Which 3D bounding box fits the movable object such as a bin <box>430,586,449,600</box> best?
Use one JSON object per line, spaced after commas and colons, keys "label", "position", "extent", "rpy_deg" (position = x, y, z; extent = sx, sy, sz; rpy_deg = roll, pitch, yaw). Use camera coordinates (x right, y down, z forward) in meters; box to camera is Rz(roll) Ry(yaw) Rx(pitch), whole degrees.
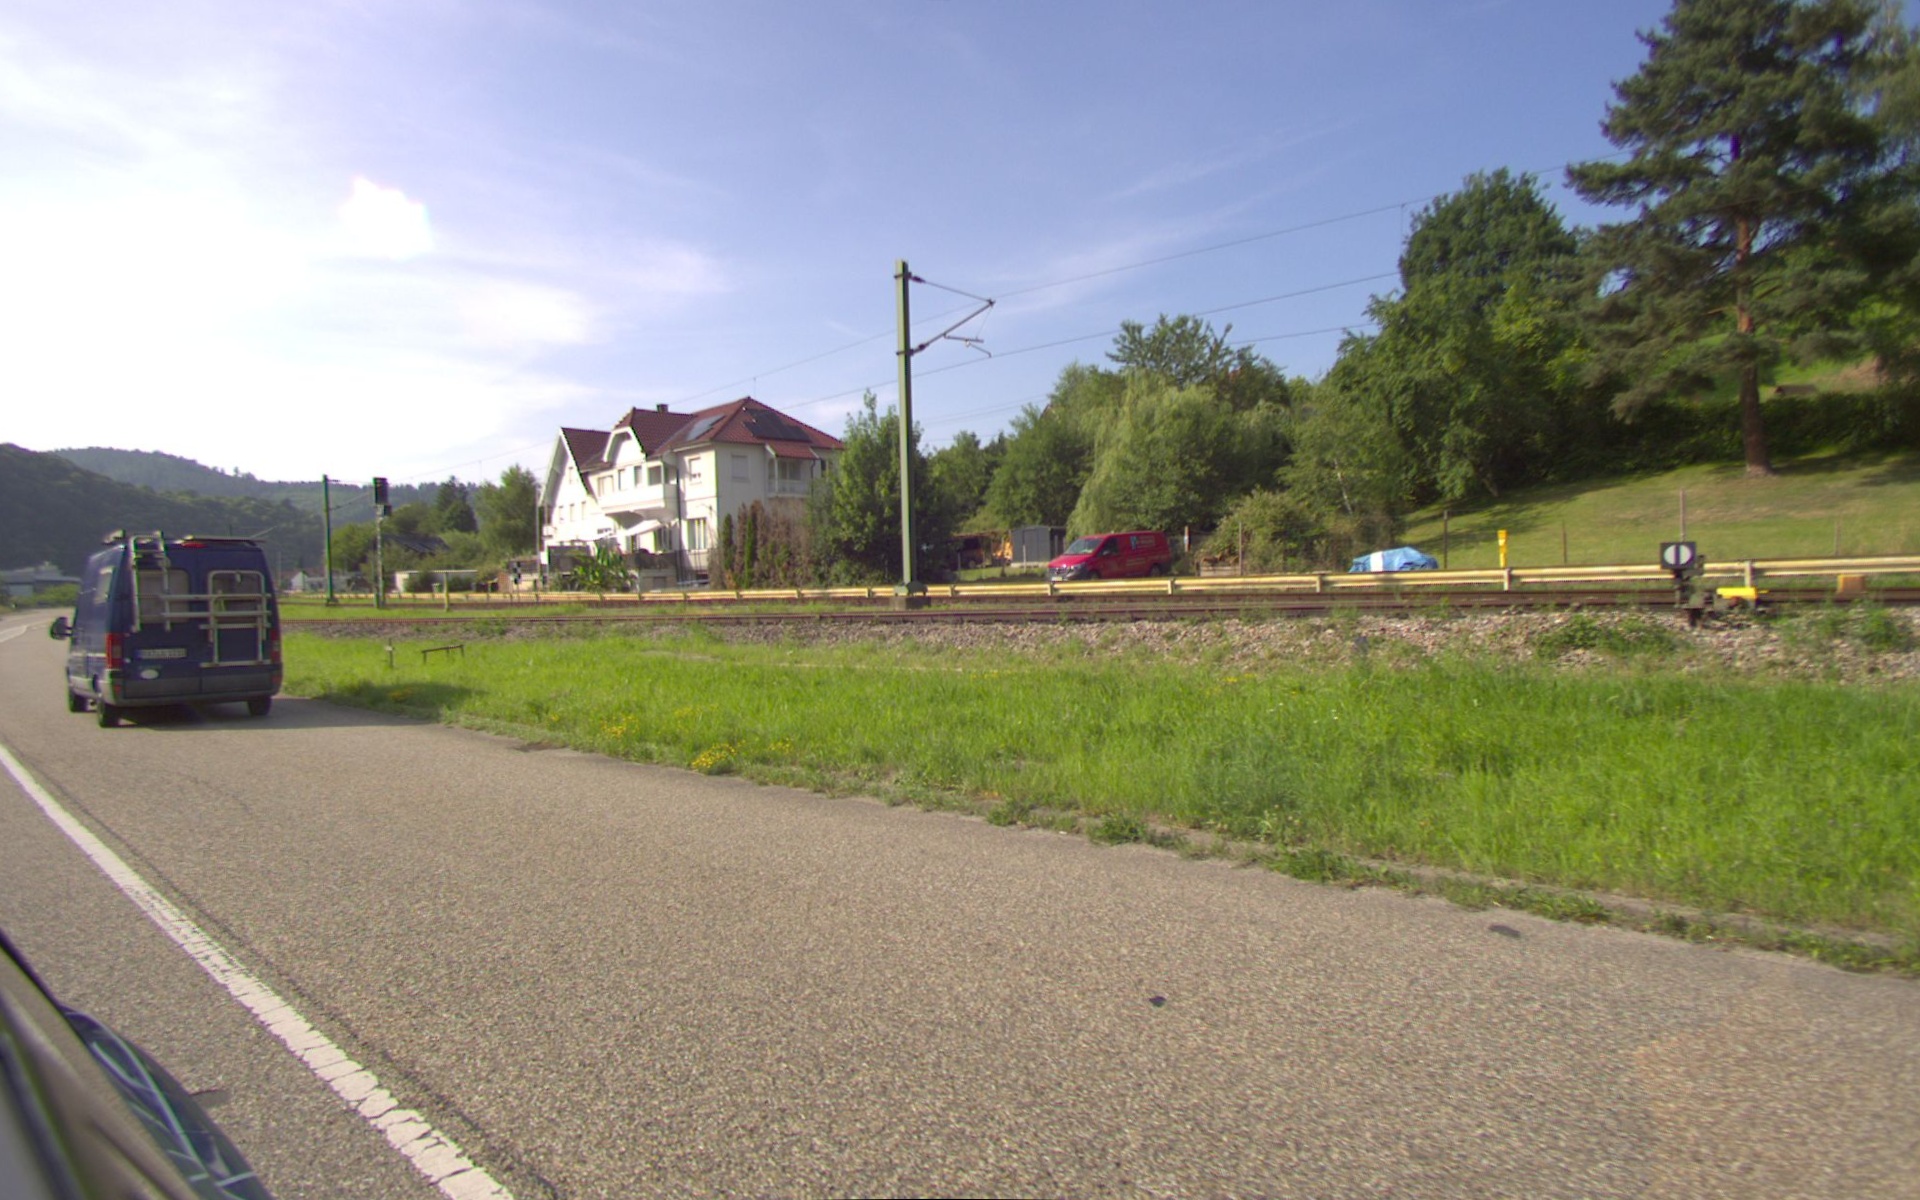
{"label": "movable object such as a bin", "position": [-44.689, -0.593, 86.880], "extent": [1.093, 1.200, 1.127], "rpy_deg": [0, 2, 43]}

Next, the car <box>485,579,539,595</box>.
{"label": "car", "position": [-38.544, -1.126, 87.075], "extent": [4.039, 1.280, 1.741], "rpy_deg": [-3, 1, -32]}

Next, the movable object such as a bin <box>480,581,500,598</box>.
{"label": "movable object such as a bin", "position": [-36.538, -0.816, 78.653], "extent": [1.076, 1.200, 1.145], "rpy_deg": [-3, 2, -41]}

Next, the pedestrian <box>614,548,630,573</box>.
{"label": "pedestrian", "position": [-22.024, -2.587, 65.950], "extent": [0.676, 1.628, 0.601], "rpy_deg": [-1, 2, 36]}

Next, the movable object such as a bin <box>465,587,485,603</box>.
{"label": "movable object such as a bin", "position": [-37.323, -0.410, 77.824], "extent": [1.076, 1.200, 1.145], "rpy_deg": [-3, 2, -41]}

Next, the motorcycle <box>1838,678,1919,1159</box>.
{"label": "motorcycle", "position": [3.288, 0.795, 2.240], "extent": [1.969, 1.139, 0.852], "rpy_deg": [-2, -1, 44]}

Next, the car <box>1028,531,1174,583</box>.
{"label": "car", "position": [5.041, -1.528, 35.867], "extent": [4.902, 1.704, 2.460], "rpy_deg": [-3, 2, -39]}

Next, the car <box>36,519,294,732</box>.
{"label": "car", "position": [-12.042, 0.366, 15.166], "extent": [5.477, 2.635, 2.104], "rpy_deg": [-1, -1, 42]}

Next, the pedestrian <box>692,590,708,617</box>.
{"label": "pedestrian", "position": [-15.616, 0.204, 60.804], "extent": [0.667, 1.628, 0.609], "rpy_deg": [-3, 2, -42]}
